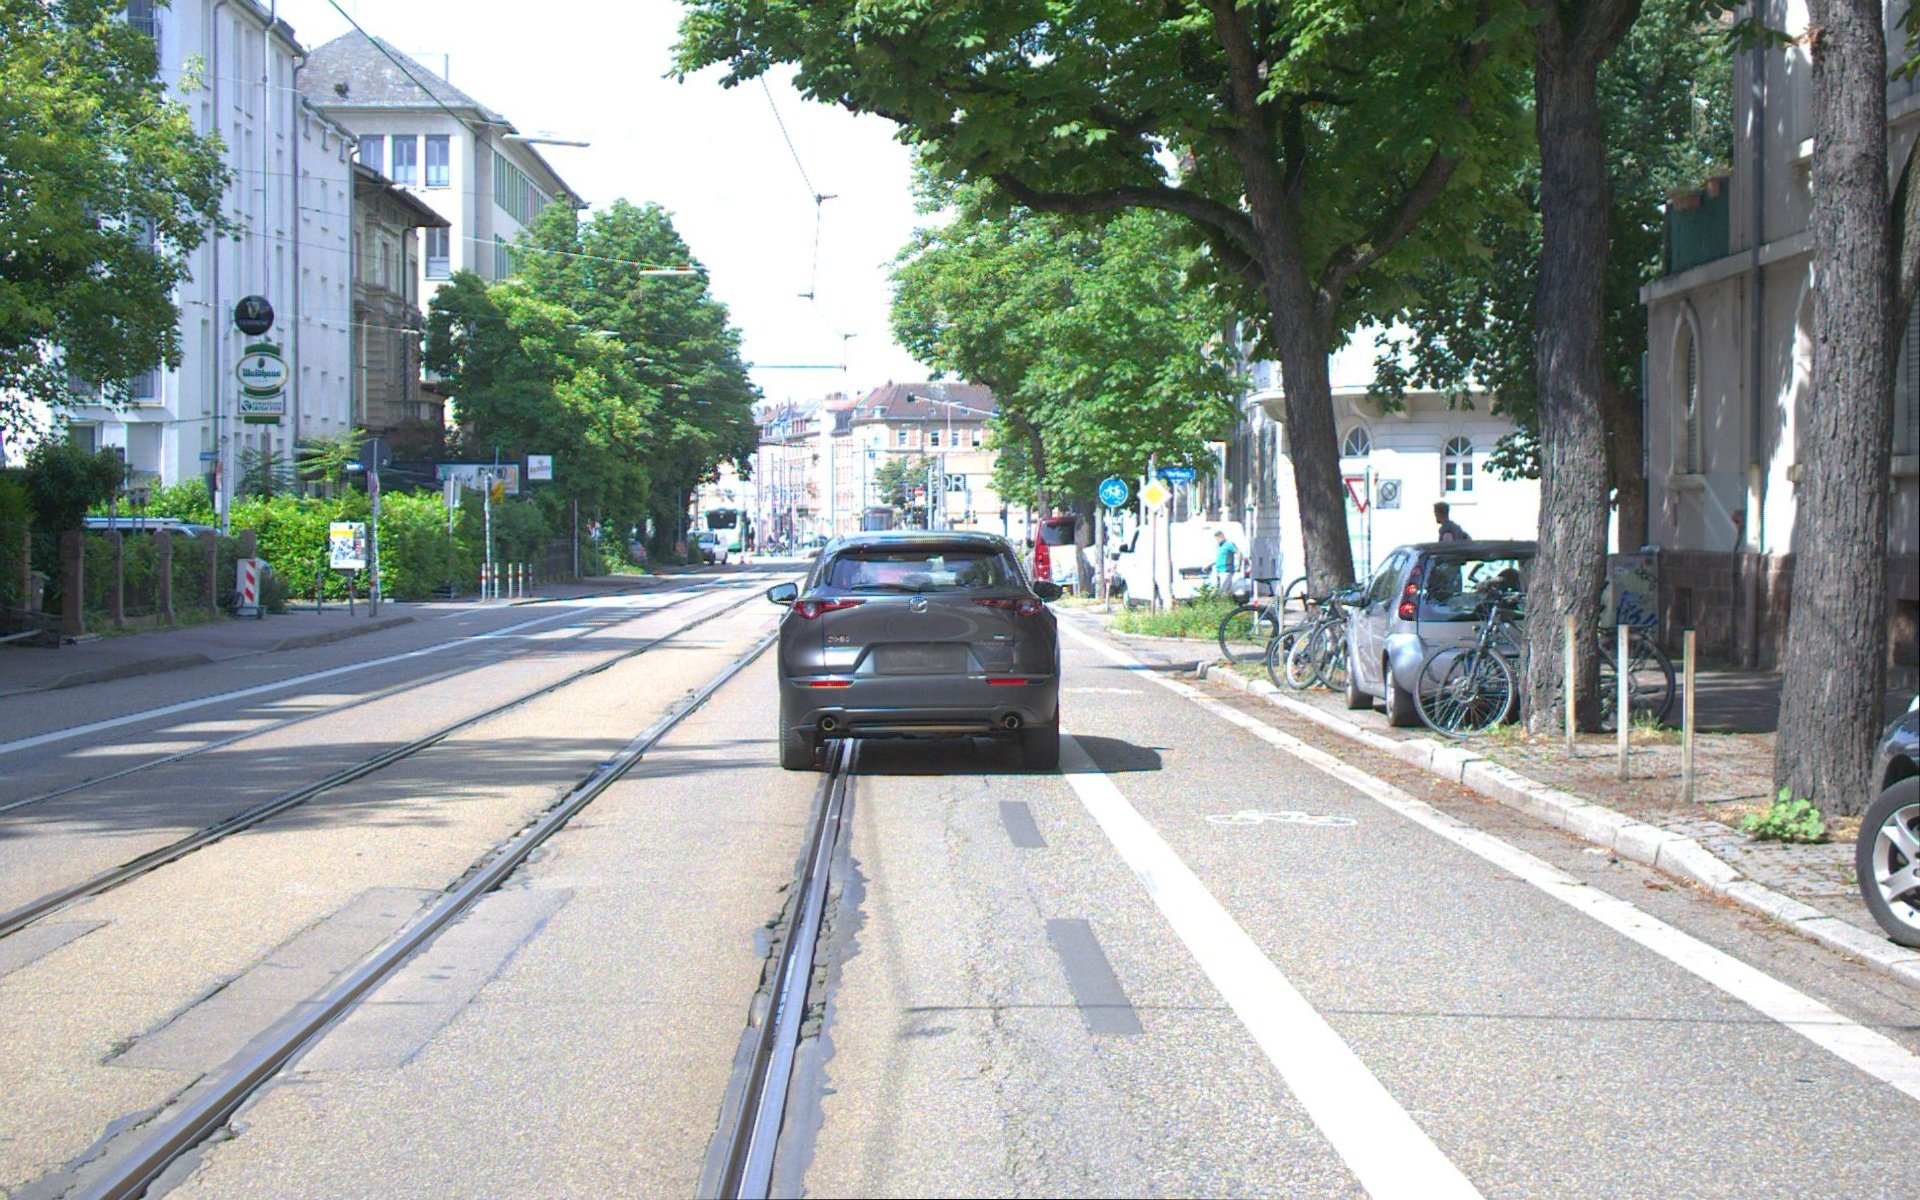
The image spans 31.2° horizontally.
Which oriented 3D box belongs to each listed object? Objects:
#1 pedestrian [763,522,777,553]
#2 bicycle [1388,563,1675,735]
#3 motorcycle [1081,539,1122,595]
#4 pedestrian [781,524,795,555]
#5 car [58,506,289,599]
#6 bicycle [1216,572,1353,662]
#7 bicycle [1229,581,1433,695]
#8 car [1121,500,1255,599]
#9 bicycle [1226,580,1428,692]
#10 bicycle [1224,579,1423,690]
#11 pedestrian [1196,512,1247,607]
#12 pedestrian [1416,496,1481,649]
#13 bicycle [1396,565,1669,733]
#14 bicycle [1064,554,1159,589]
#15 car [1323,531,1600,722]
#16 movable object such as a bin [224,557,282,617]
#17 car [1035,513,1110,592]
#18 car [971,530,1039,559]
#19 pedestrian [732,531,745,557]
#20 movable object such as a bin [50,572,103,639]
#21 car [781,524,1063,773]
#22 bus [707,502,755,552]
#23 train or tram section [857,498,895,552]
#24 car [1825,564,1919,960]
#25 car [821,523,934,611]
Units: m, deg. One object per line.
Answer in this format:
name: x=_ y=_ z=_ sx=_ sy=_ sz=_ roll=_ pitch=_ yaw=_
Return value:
pedestrian: x=-12.436 y=-4.081 z=224.865 sx=0.884 sy=2.007 sz=0.618 roll=0 pitch=1 yaw=-5
bicycle: x=3.994 y=0.342 z=24.037 sx=1.938 sy=1.172 sz=0.513 roll=-1 pitch=0 yaw=11
motorcycle: x=3.309 y=-0.783 z=80.365 sx=0.794 sy=1.267 sz=2.423 roll=0 pitch=1 yaw=-1
pedestrian: x=-11.262 y=-3.957 z=225.013 sx=0.884 sy=2.007 sz=0.618 roll=0 pitch=1 yaw=-5
car: x=-17.445 y=-1.064 z=76.253 sx=4.667 sy=2.007 sz=2.044 roll=1 pitch=1 yaw=21
bicycle: x=3.593 y=0.189 z=38.089 sx=1.491 sy=0.980 sz=0.259 roll=0 pitch=1 yaw=1
bicycle: x=3.546 y=0.359 z=32.912 sx=1.903 sy=1.068 sz=0.402 roll=0 pitch=1 yaw=-1
car: x=4.601 y=-1.056 z=69.991 sx=1.786 sy=1.932 sz=4.992 roll=0 pitch=1 yaw=-7
bicycle: x=3.553 y=0.349 z=33.347 sx=1.903 sy=1.068 sz=0.402 roll=0 pitch=1 yaw=-1
bicycle: x=3.564 y=0.339 z=33.759 sx=1.903 sy=1.068 sz=0.402 roll=0 pitch=1 yaw=-1
pedestrian: x=5.097 y=-0.795 z=66.966 sx=0.815 sy=1.829 sz=0.962 roll=0 pitch=1 yaw=-6
pedestrian: x=5.900 y=-0.327 z=41.580 sx=0.610 sy=1.829 sz=0.879 roll=0 pitch=-1 yaw=-3
bicycle: x=4.102 y=0.350 z=24.645 sx=1.895 sy=1.172 sz=0.513 roll=-1 pitch=0 yaw=11
bicycle: x=3.681 y=-0.695 z=83.555 sx=2.275 sy=0.858 sz=0.672 roll=0 pitch=1 yaw=-2
car: x=4.092 y=0.173 z=28.592 sx=1.666 sy=1.425 sz=3.766 roll=-2 pitch=1 yaw=-1
movable object such as a bin: x=-12.026 y=-0.224 z=58.525 sx=0.745 sy=0.984 sz=1.114 roll=2 pitch=1 yaw=-1
car: x=2.829 y=-1.216 z=87.192 sx=1.720 sy=1.962 sz=4.207 roll=0 pitch=1 yaw=0
car: x=2.781 y=-3.426 z=212.143 sx=3.805 sy=1.612 sz=1.638 roll=2 pitch=1 yaw=-19
pedestrian: x=-12.929 y=-3.267 z=200.511 sx=0.751 sy=1.505 sz=0.824 roll=0 pitch=1 yaw=-5
movable object such as a bin: x=-11.770 y=0.072 z=45.823 sx=0.562 sy=0.873 sz=0.616 roll=0 pitch=1 yaw=-1
car: x=-0.279 y=0.258 z=22.844 sx=1.720 sy=1.521 sz=3.590 roll=0 pitch=1 yaw=-1
bus: x=-16.463 y=-5.247 z=246.530 sx=2.688 sy=3.409 sz=11.020 roll=2 pitch=1 yaw=-7
train or tram section: x=-5.991 y=-5.366 z=246.286 sx=2.571 sy=3.759 sz=13.027 roll=0 pitch=1 yaw=-1
car: x=4.440 y=0.583 z=11.150 sx=1.846 sy=1.404 sz=4.395 roll=-2 pitch=1 yaw=-4
car: x=-1.561 y=-0.644 z=64.743 sx=1.993 sy=1.523 sz=4.000 roll=2 pitch=1 yaw=-2
